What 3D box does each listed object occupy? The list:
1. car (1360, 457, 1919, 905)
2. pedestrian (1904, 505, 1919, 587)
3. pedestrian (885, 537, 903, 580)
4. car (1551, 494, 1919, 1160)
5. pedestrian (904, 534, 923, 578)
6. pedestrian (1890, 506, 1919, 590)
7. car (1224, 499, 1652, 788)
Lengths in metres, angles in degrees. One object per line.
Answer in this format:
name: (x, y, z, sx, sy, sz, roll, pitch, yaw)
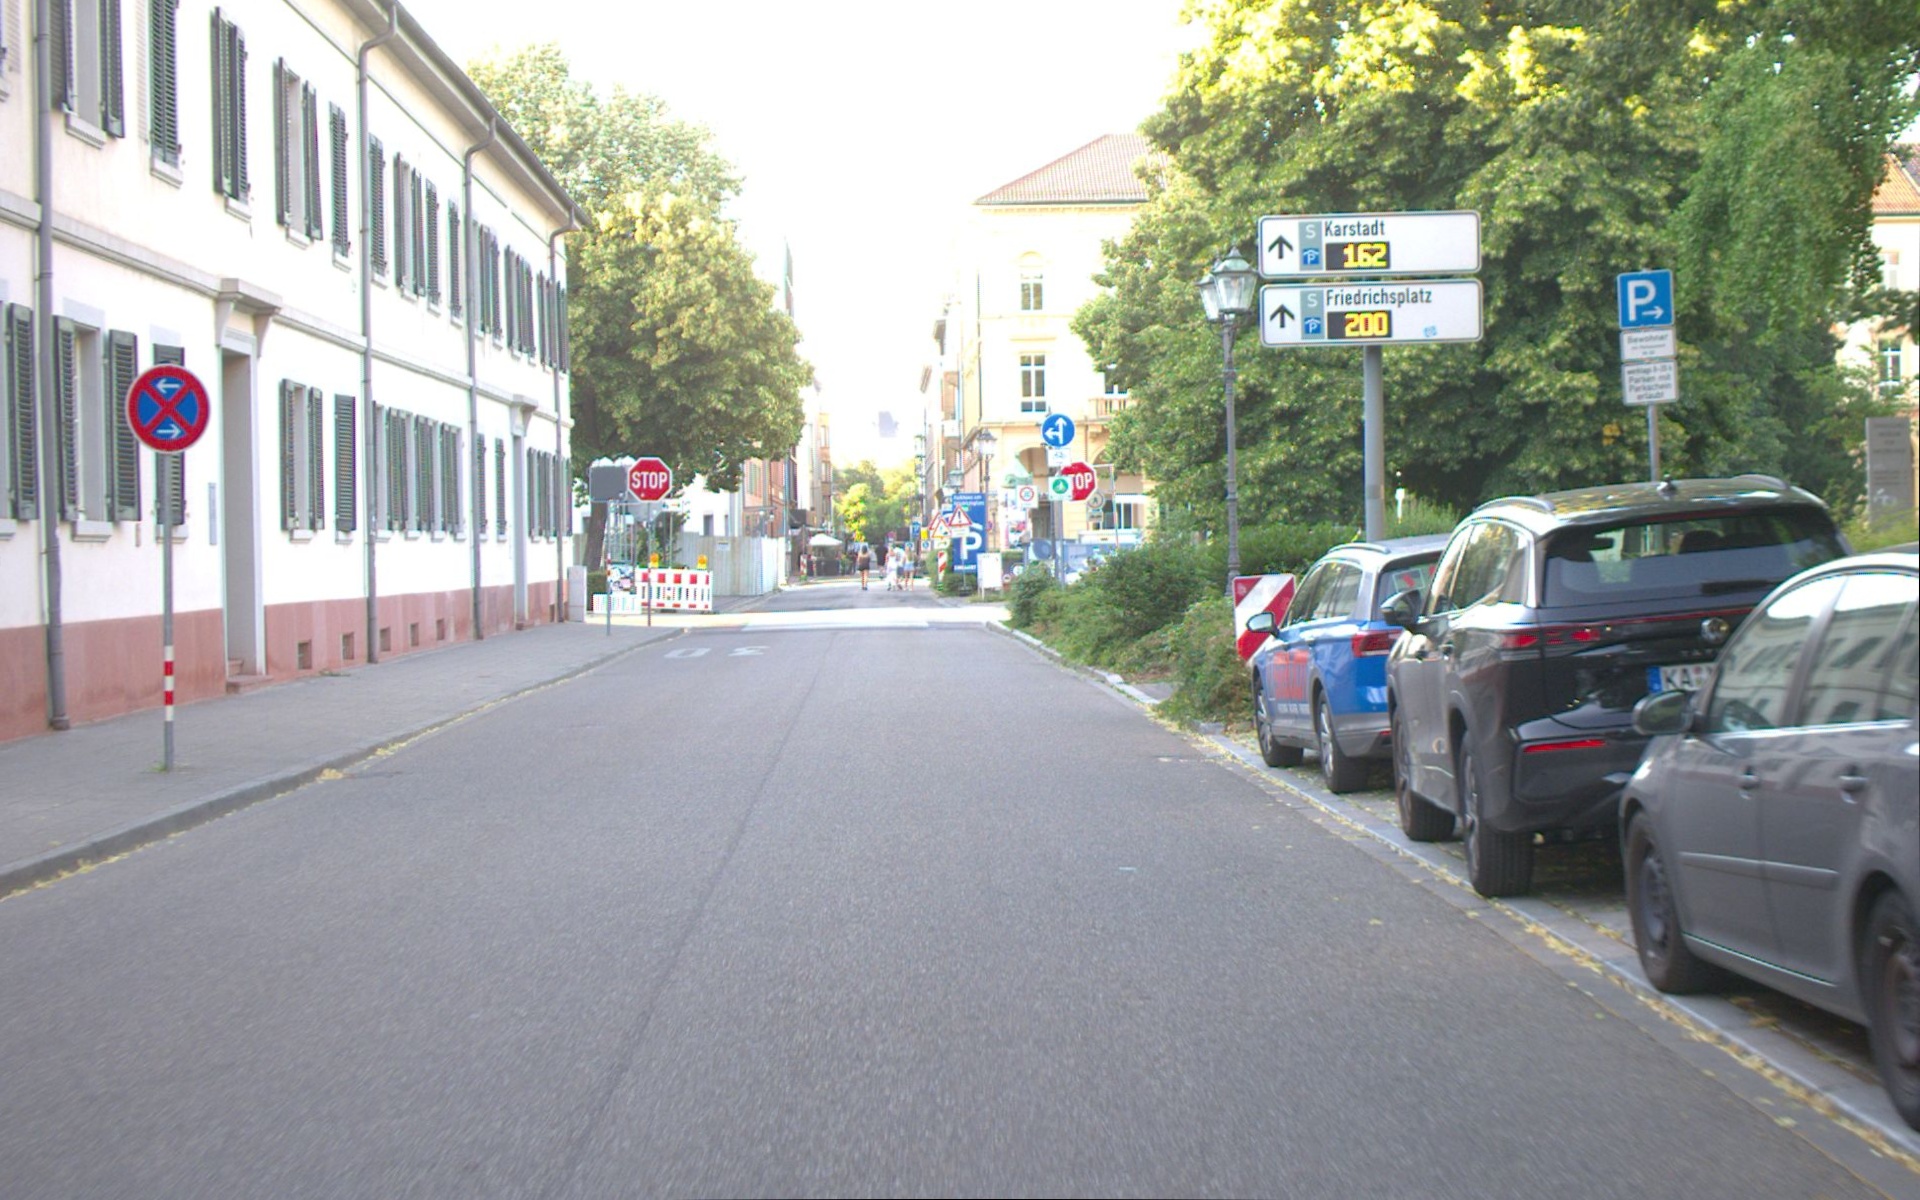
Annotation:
car: (2.882, 0.290, 15.384, 1.724, 1.646, 4.713, -2, 0, 2)
pedestrian: (14.258, -0.797, 50.041, 0.807, 1.187, 0.789, -2, 1, 2)
pedestrian: (-2.489, -1.564, 129.927, 0.657, 1.611, 0.745, -1, 1, -1)
car: (2.999, 0.486, 9.872, 1.724, 1.533, 4.190, -2, 0, -2)
pedestrian: (-1.758, -1.663, 129.988, 0.657, 1.611, 0.745, -1, 1, -1)
pedestrian: (13.727, -0.751, 49.127, 0.663, 1.187, 0.794, -1, 1, 27)
car: (2.860, 0.208, 21.590, 1.724, 1.483, 4.611, -5, 1, -3)
